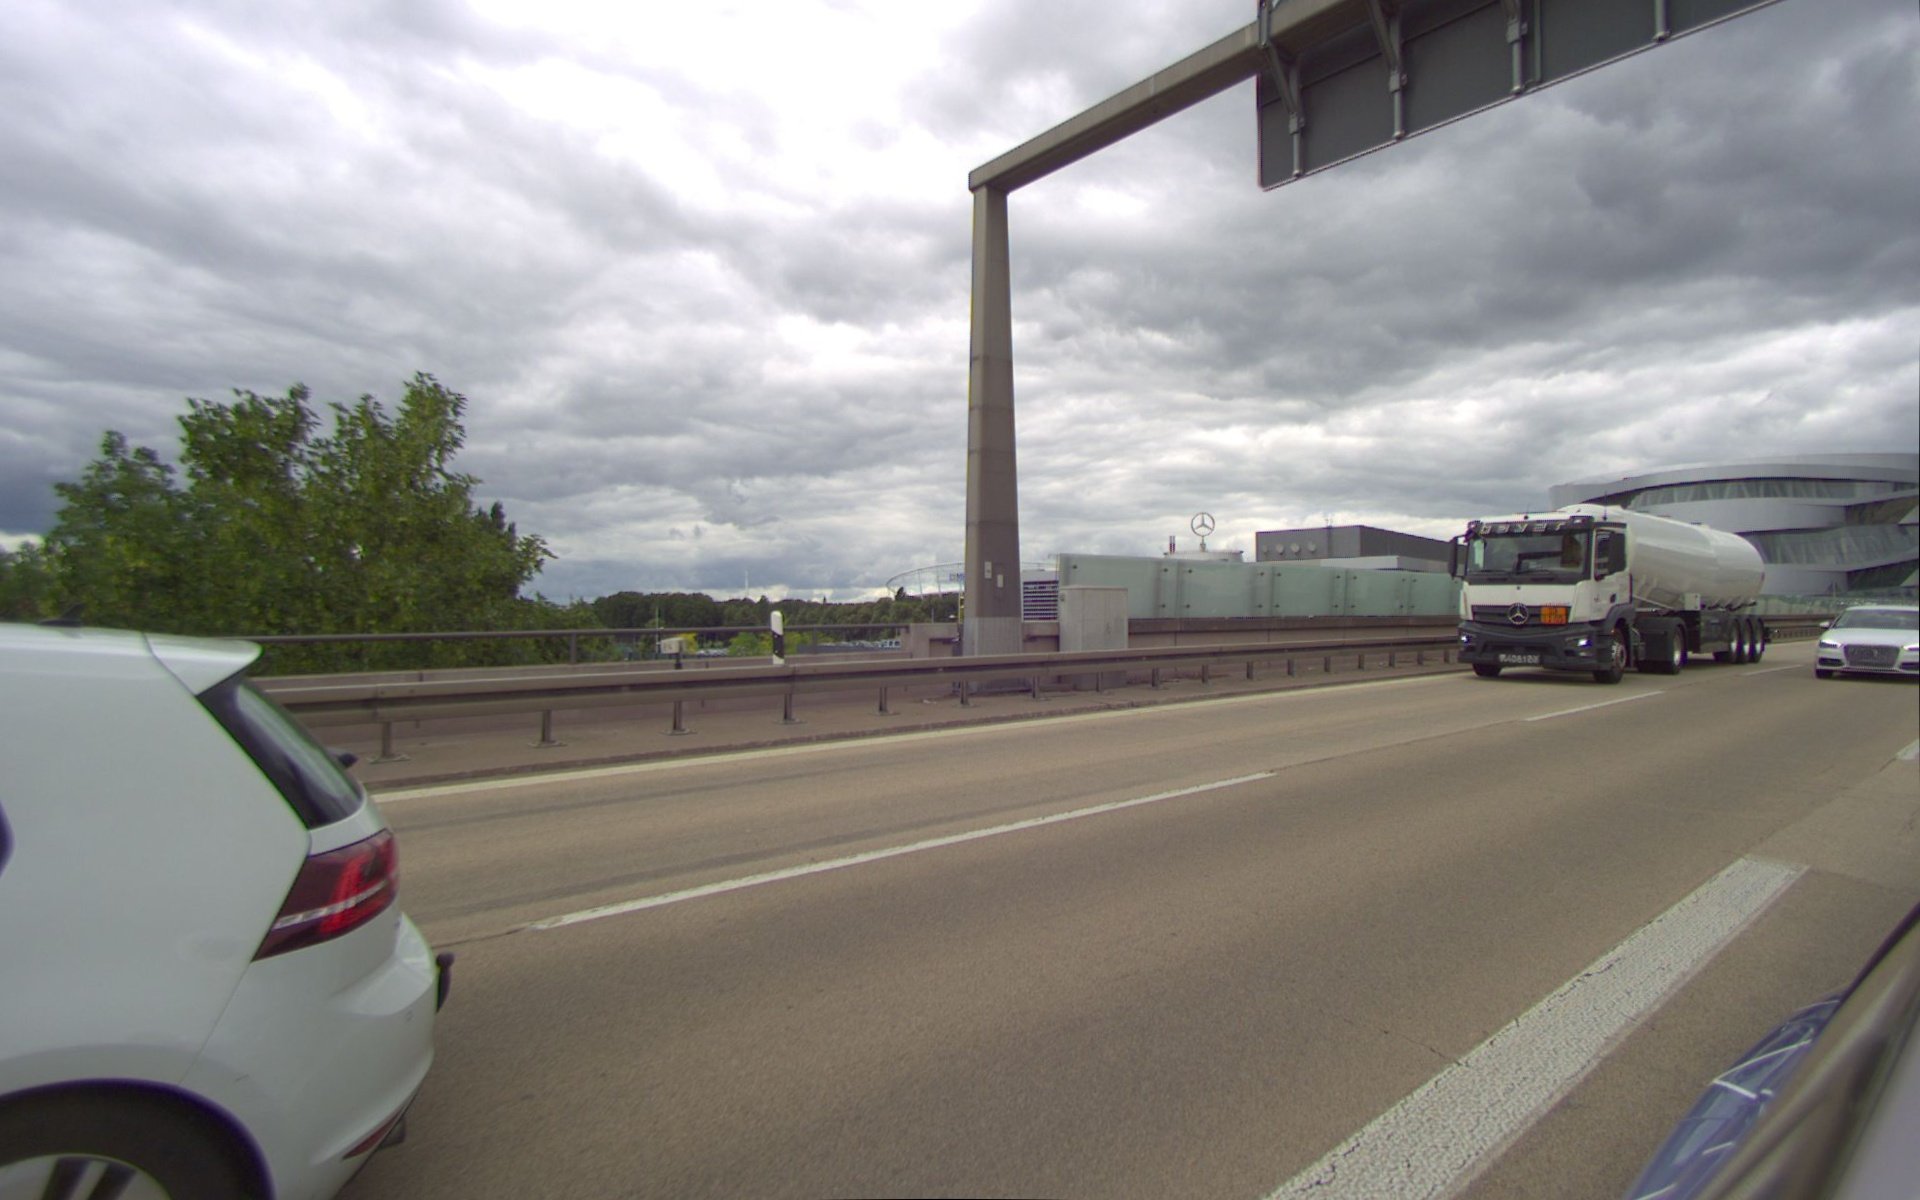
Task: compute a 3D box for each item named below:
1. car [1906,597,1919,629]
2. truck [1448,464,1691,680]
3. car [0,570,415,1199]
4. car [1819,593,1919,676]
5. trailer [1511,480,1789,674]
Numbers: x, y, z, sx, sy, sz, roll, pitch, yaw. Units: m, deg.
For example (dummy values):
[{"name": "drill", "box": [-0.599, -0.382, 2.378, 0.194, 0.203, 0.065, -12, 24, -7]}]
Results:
[{"name": "car", "box": [52.078, 0.680, 54.162, 3.564, 1.654, 1.784, 0, 1, -41]}, {"name": "truck", "box": [11.688, -0.420, 19.271, 4.818, 3.559, 2.635, 2, -1, -41]}, {"name": "car", "box": [-3.131, 0.668, 1.285, 4.002, 1.470, 1.757, 0, 1, -42]}, {"name": "car", "box": [18.319, 0.617, 19.644, 3.861, 1.470, 1.848, 0, 0, -39]}, {"name": "trailer", "box": [16.287, -0.475, 23.362, 11.025, 3.588, 2.654, 0, 1, -41]}]
